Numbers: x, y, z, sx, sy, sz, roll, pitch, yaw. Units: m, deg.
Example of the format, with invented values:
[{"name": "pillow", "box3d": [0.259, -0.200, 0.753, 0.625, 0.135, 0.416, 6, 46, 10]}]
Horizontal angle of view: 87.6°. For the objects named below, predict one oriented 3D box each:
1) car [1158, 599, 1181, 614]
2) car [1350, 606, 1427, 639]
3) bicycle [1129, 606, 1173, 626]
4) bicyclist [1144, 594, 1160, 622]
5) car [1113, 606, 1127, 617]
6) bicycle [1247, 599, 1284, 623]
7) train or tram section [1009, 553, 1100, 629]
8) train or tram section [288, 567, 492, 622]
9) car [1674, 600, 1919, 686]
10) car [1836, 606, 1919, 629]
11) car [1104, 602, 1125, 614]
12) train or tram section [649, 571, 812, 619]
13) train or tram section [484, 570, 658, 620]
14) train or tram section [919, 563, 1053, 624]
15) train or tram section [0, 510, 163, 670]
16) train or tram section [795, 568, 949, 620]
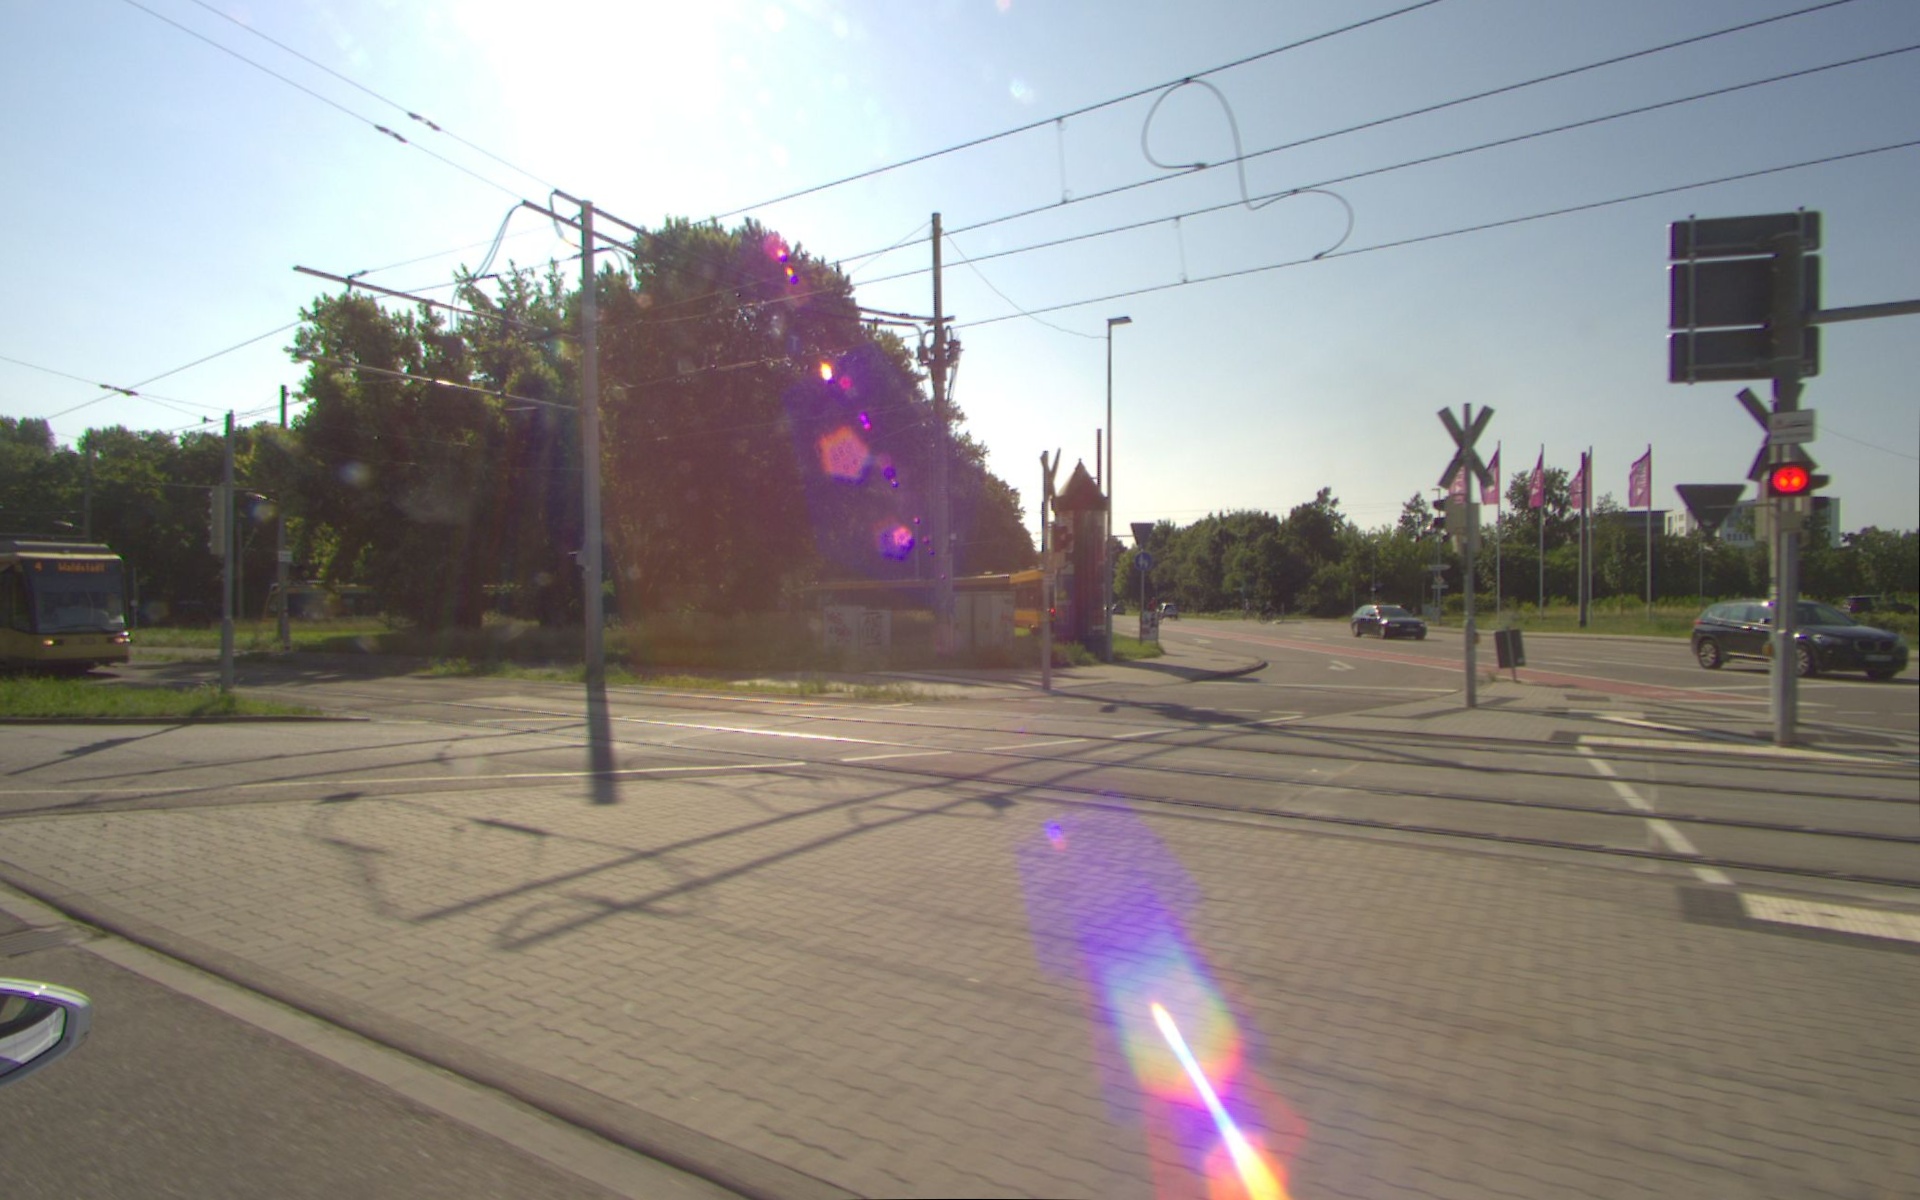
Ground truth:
[{"name": "car", "box3d": [22.700, 0.699, 108.477, 1.820, 1.583, 4.203, 0, 0, 3]}, {"name": "car", "box3d": [18.574, 0.944, 43.579, 1.715, 1.352, 4.306, 0, 0, 3]}, {"name": "bicycle", "box3d": [14.169, 1.169, 74.400, 3.167, 1.473, 1.130, 0, 0, 9]}, {"name": "bicyclist", "box3d": [14.258, 0.576, 74.394, 1.078, 2.040, 1.140, 0, 0, 8]}, {"name": "car", "box3d": [21.462, 1.571, 134.368, 1.575, 1.401, 3.532, 1, -2, 4]}, {"name": "bicycle", "box3d": [23.011, 0.834, 75.514, 2.563, 1.736, 0.795, 0, 1, 11]}, {"name": "train or tram section", "box3d": [4.823, -0.432, 54.072, 2.995, 3.627, 11.848, 0, 0, -4]}, {"name": "train or tram section", "box3d": [-40.033, -0.369, 70.976, 12.253, 3.627, 3.039, 0, 1, -28]}, {"name": "car", "box3d": [18.093, 0.819, 21.667, 2.004, 1.584, 4.860, 0, 1, 3]}, {"name": "car", "box3d": [65.020, 1.230, 70.957, 3.923, 1.617, 1.999, 0, 1, 8]}, {"name": "car", "box3d": [20.757, 1.044, 134.741, 1.961, 1.626, 3.999, 0, 0, -3]}, {"name": "train or tram section", "box3d": [-17.706, -0.367, 77.914, 11.992, 3.627, 3.053, 0, 1, -2]}, {"name": "train or tram section", "box3d": [-29.380, -0.359, 76.039, 12.031, 3.627, 3.044, 0, 1, -23]}, {"name": "train or tram section", "box3d": [1.424, -0.389, 65.750, 3.010, 3.627, 12.166, 0, 0, -29]}, {"name": "train or tram section", "box3d": [-26.222, -0.136, 27.481, 12.770, 3.665, 2.791, -1, -1, 32]}, {"name": "train or tram section", "box3d": [-6.680, -0.436, 74.392, 12.054, 3.627, 3.037, 0, 1, 32]}]
